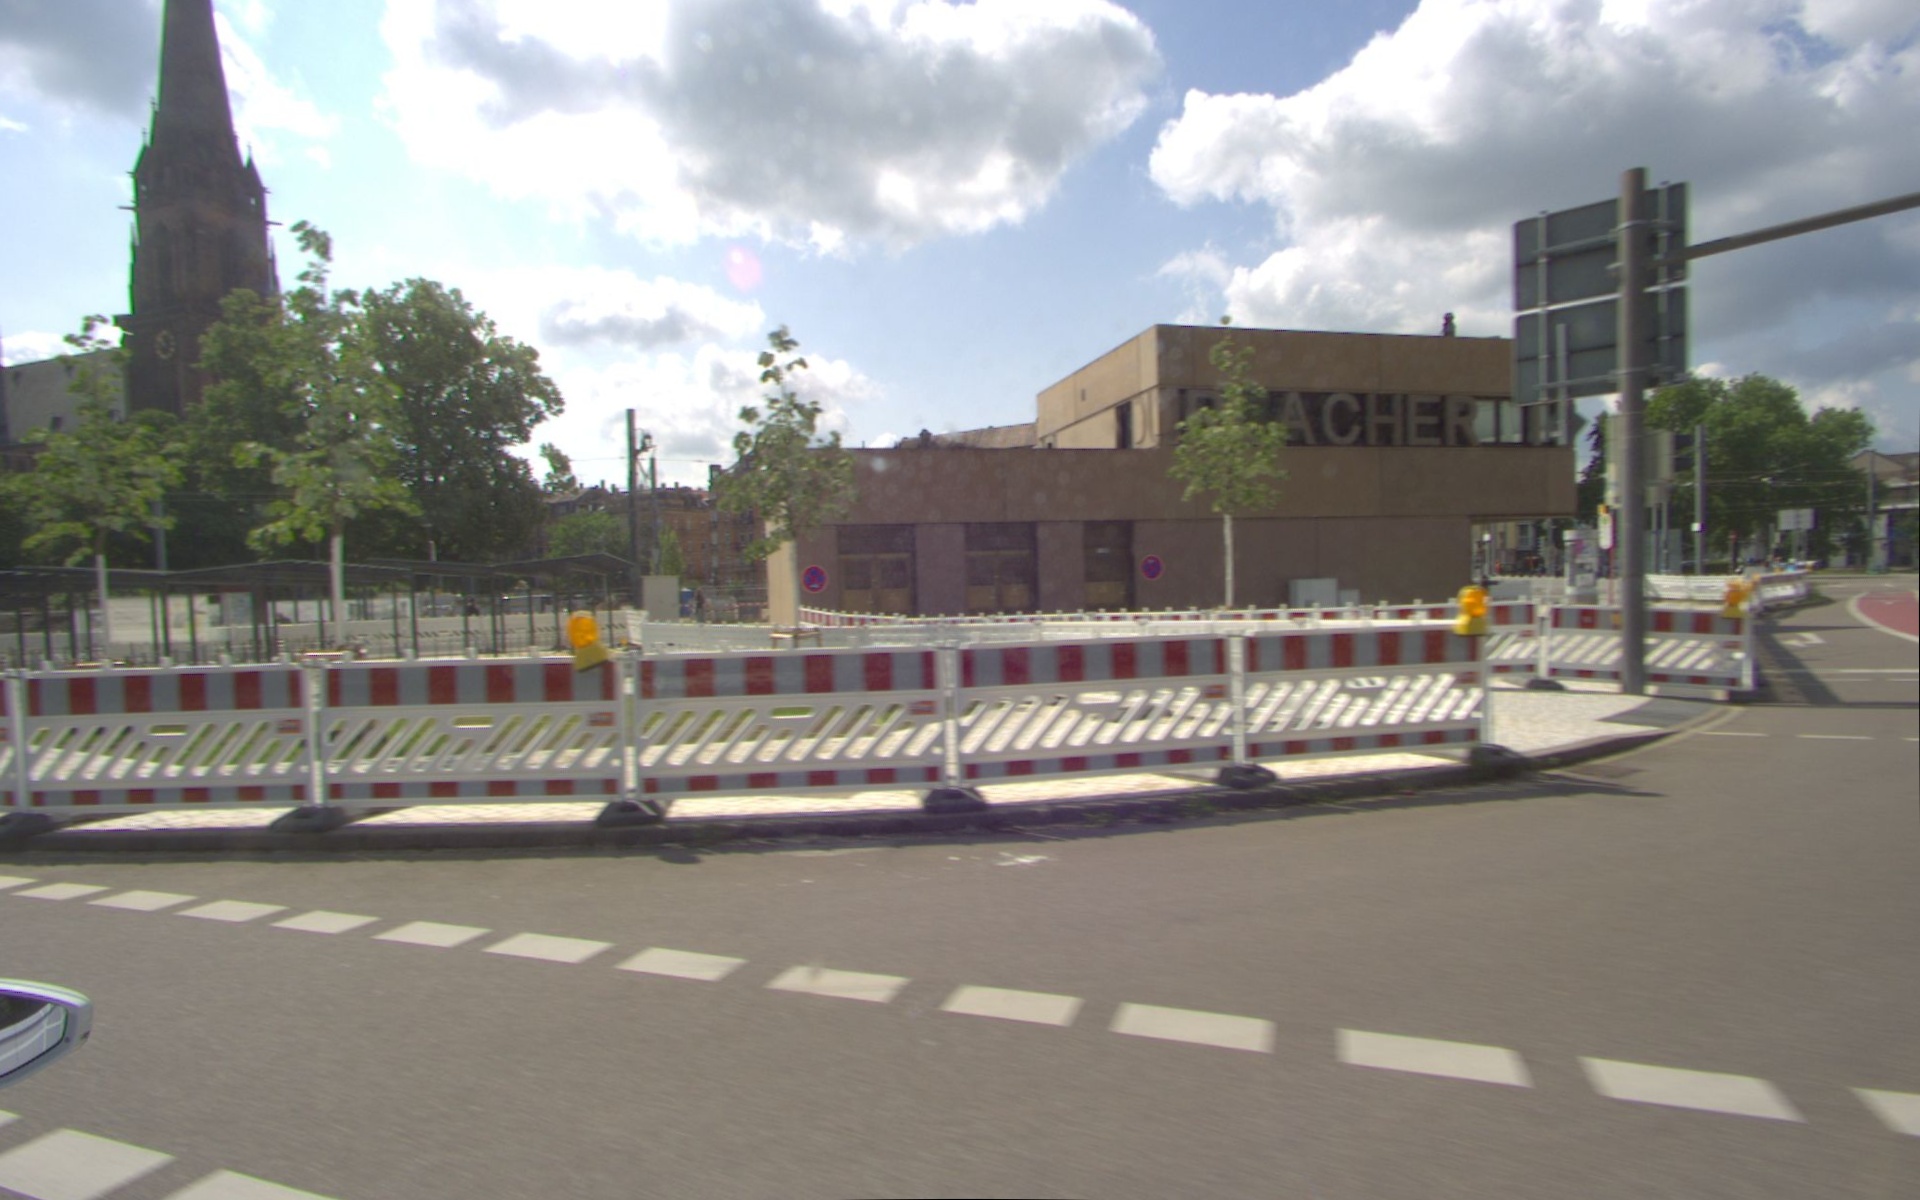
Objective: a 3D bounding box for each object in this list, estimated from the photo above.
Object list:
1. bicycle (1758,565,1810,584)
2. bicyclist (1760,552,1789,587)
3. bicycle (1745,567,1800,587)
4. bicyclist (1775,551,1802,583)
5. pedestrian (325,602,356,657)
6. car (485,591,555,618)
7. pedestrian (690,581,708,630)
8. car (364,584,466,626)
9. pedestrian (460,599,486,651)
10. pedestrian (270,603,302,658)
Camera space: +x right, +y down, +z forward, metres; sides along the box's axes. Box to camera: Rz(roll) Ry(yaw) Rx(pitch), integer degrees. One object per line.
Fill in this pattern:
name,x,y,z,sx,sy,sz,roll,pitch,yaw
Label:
bicycle,49.858,-1.562,60.625,0.835,1.081,2.362,-3,2,-45
bicyclist,46.626,-1.757,57.325,1.211,1.935,0.850,0,3,45
bicycle,46.565,-1.330,57.424,0.850,1.081,2.362,-3,2,-45
bicyclist,50.011,-1.993,60.449,1.211,1.935,0.826,0,3,45
pedestrian,-23.557,1.120,38.068,0.749,2.041,0.748,-2,2,-16
car,-32.383,0.308,73.817,4.287,1.818,1.782,-2,2,-5
pedestrian,-11.086,0.214,42.566,0.690,2.041,0.554,-2,2,-14
car,-27.357,0.232,50.397,4.104,1.907,1.800,-2,2,-15
pedestrian,-19.661,1.012,40.448,0.749,2.041,0.748,-2,2,-16
pedestrian,-25.656,1.135,38.131,0.737,2.041,0.761,-2,2,-18
